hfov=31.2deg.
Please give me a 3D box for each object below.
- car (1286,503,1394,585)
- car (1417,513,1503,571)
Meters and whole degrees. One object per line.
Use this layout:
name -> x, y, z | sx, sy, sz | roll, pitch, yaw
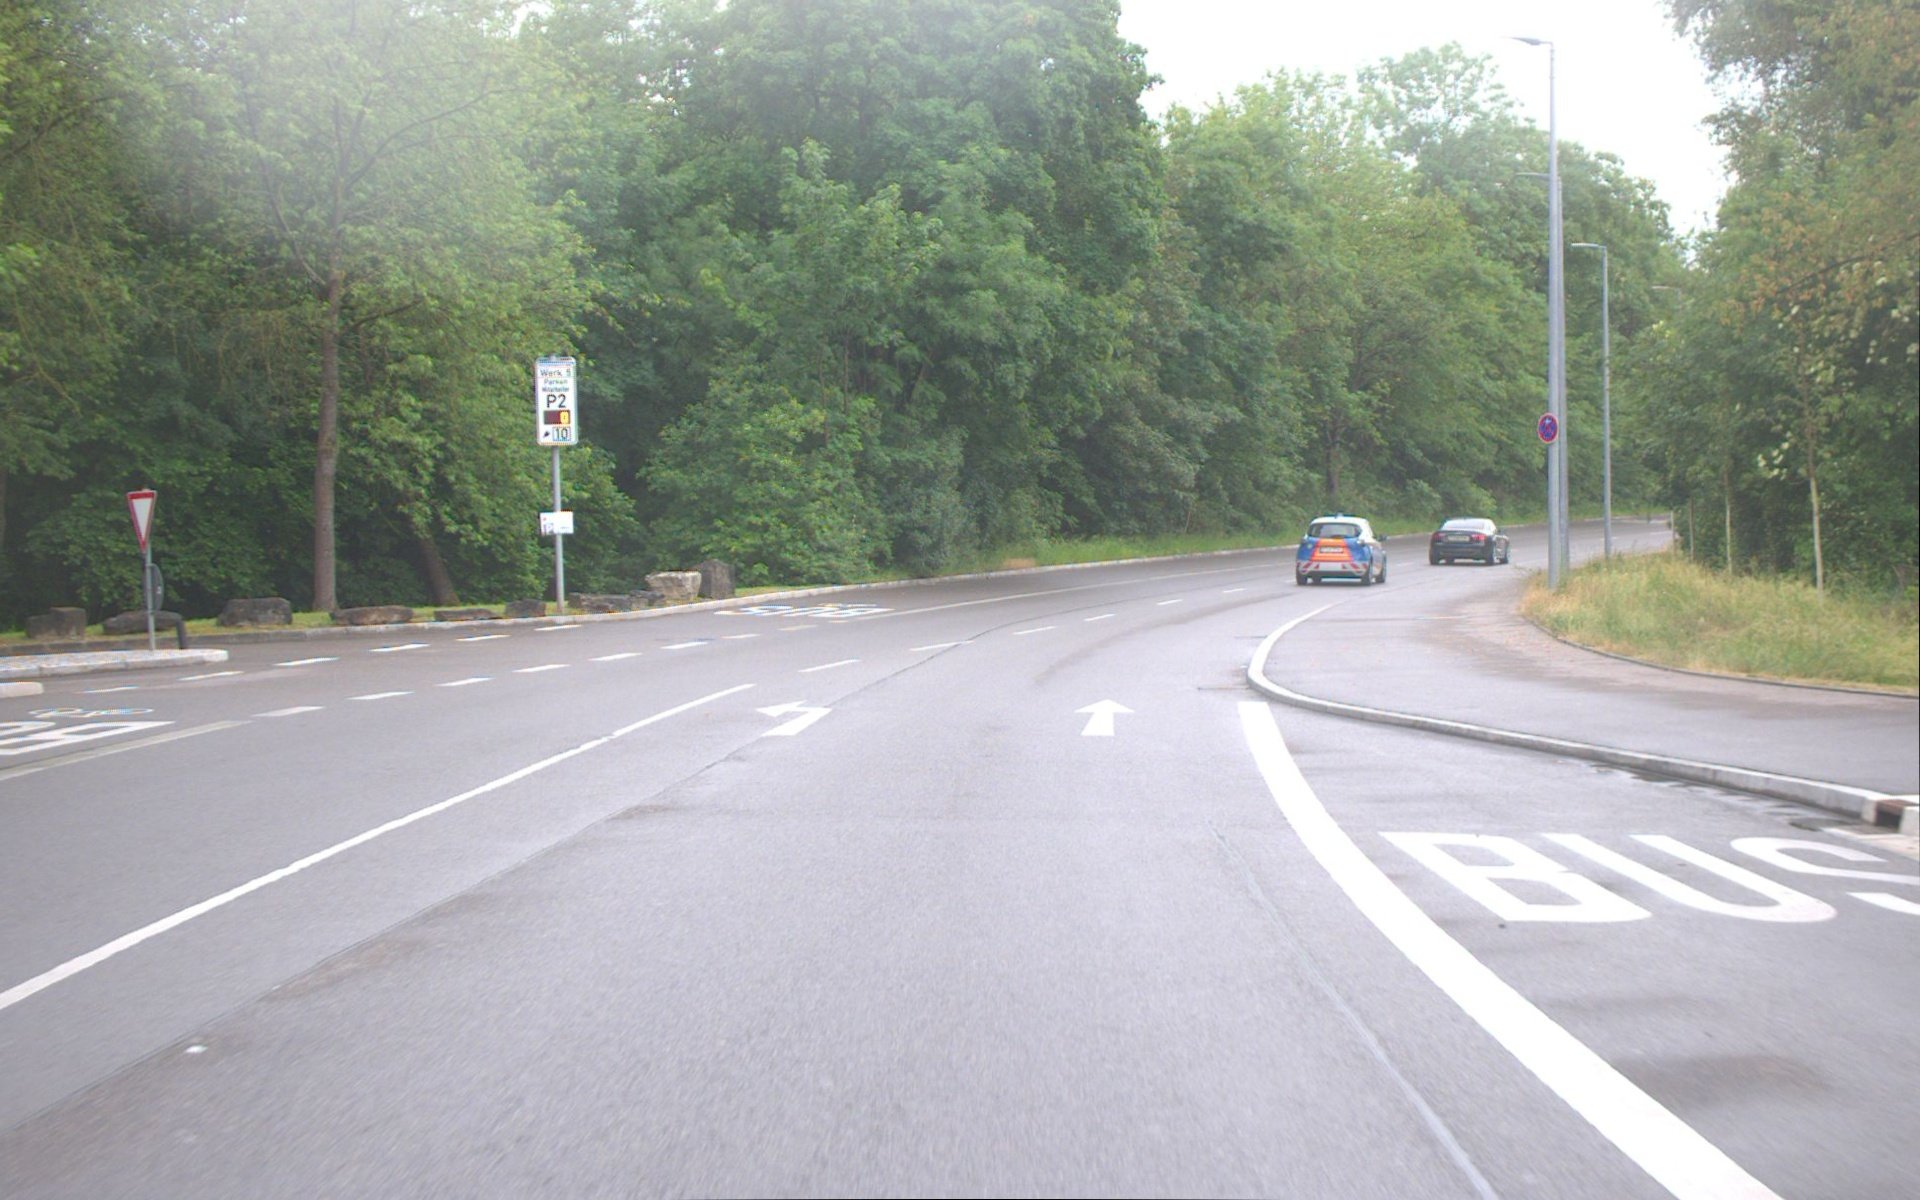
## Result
car -> 8.827, -1.315, 79.674 | 1.995, 1.683, 3.998 | -1, 3, 13
car -> 14.521, -1.685, 99.777 | 1.928, 1.481, 3.797 | -1, 3, 16
